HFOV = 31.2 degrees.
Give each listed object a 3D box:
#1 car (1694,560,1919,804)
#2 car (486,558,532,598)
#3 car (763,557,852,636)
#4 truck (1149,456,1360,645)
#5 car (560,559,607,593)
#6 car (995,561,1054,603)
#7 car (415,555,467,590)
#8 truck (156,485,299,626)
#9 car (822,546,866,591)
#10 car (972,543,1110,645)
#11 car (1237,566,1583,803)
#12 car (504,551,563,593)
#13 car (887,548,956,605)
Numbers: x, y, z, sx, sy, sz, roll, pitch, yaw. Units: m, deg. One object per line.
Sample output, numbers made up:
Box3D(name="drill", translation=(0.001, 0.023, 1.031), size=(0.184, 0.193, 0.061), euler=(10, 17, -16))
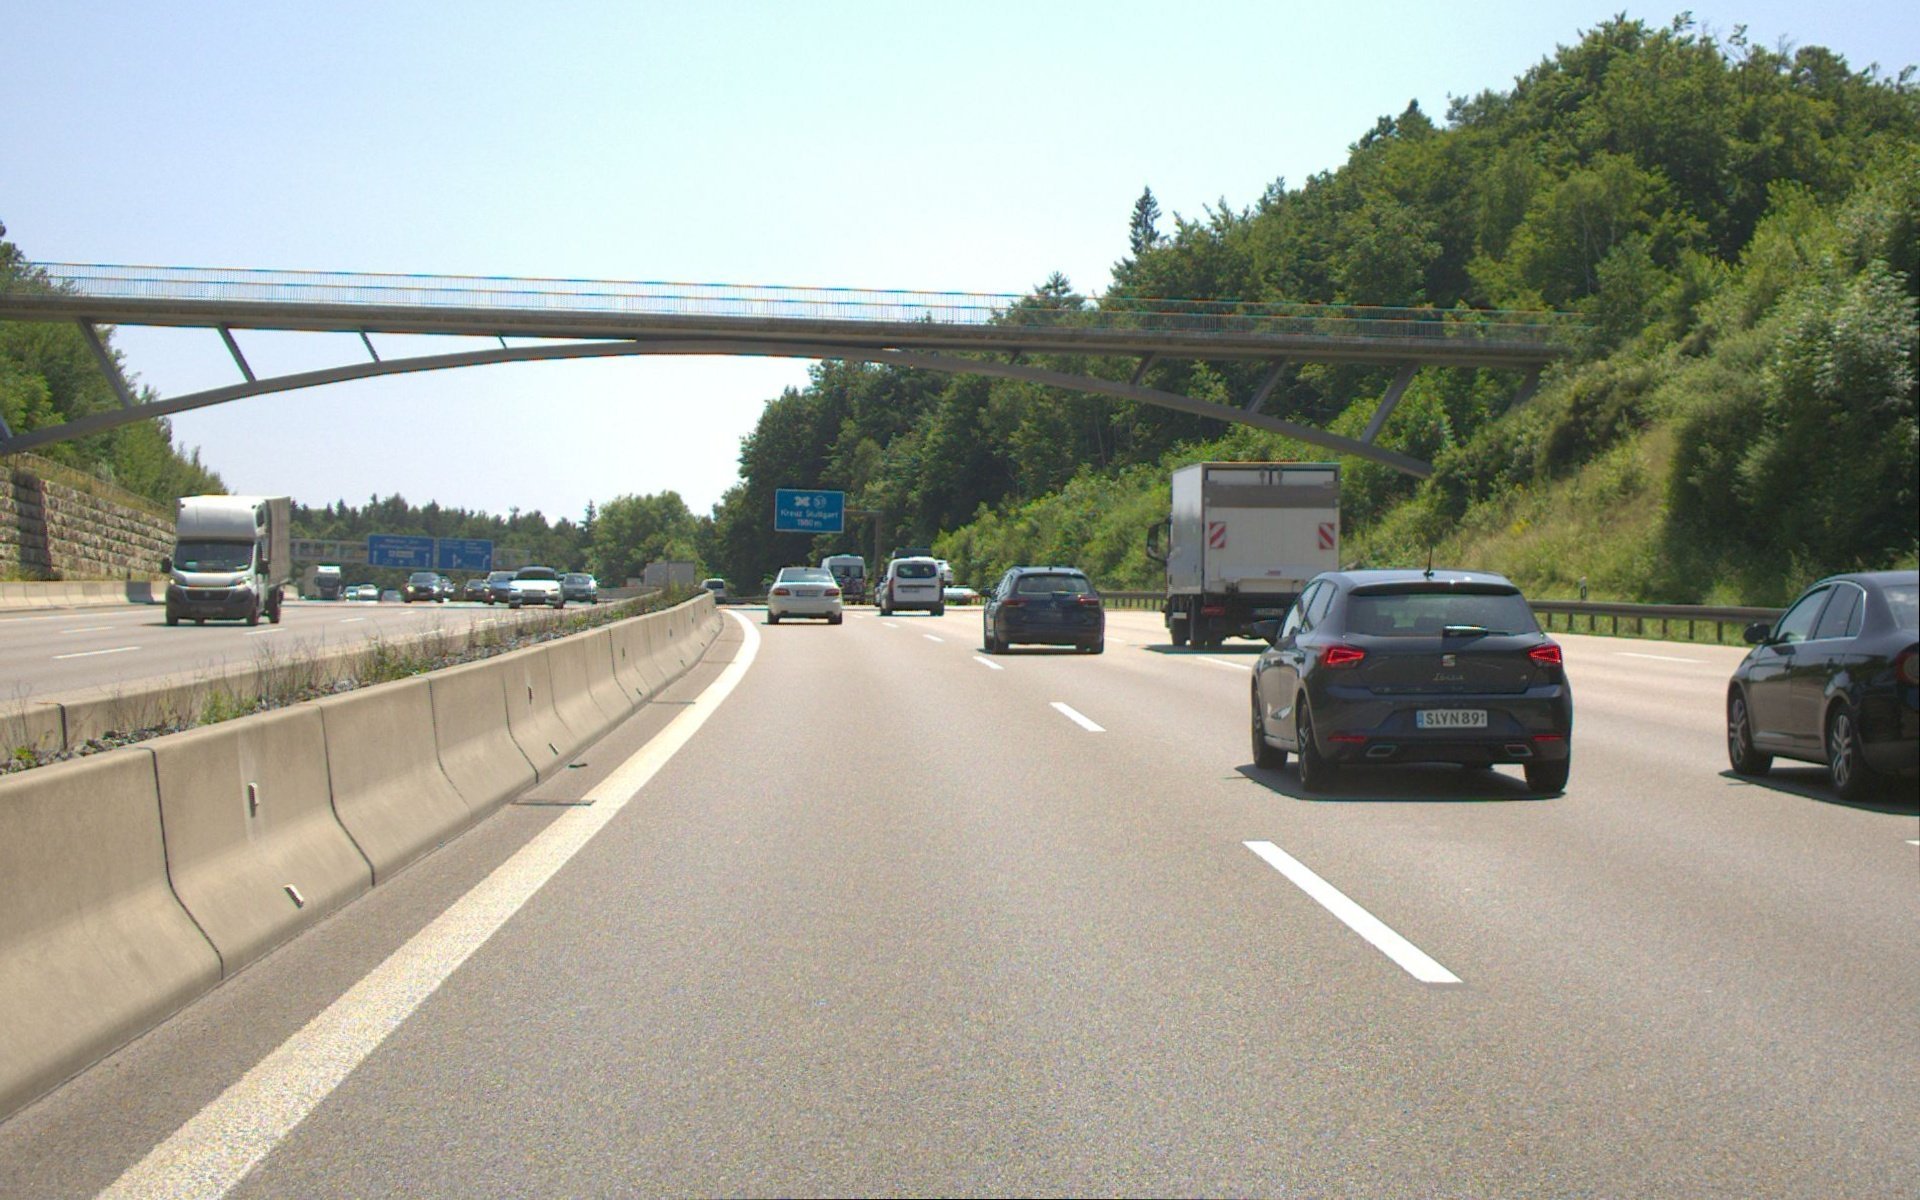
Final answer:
Box3D(name="car", translation=(6.209, 0.459, 22.640), size=(1.665, 1.403, 4.903), euler=(1, 1, 0))
Box3D(name="car", translation=(-19.209, -0.940, 146.487), size=(1.653, 1.545, 4.001), euler=(2, 2, -4))
Box3D(name="car", translation=(-3.932, -0.069, 88.086), size=(2.012, 1.839, 4.000), euler=(1, -2, -6))
Box3D(name="truck", translation=(5.146, -0.892, 61.439), size=(2.985, 3.156, 7.575), euler=(0, 1, -1))
Box3D(name="car", translation=(-18.188, -1.168, 166.310), size=(1.993, 1.612, 4.001), euler=(0, 1, -3))
Box3D(name="car", translation=(2.550, -0.713, 136.127), size=(1.993, 1.587, 4.000), euler=(2, 0, -3))
Box3D(name="car", translation=(-24.226, -1.279, 160.441), size=(1.993, 1.612, 4.001), euler=(0, 1, -3))
Box3D(name="truck", translation=(-17.265, -1.064, 81.356), size=(2.276, 3.132, 6.920), euler=(2, 1, -4))
Box3D(name="car", translation=(-6.123, -1.644, 181.132), size=(2.265, 2.363, 4.702), euler=(0, 0, -2))
Box3D(name="car", translation=(1.306, -0.130, 57.723), size=(1.993, 1.628, 4.760), euler=(0, 1, -2))
Box3D(name="car", translation=(2.945, 0.501, 23.279), size=(1.708, 1.428, 4.000), euler=(1, 1, -1))
Box3D(name="car", translation=(-15.834, -1.059, 127.877), size=(1.900, 1.491, 4.806), euler=(0, 1, -4))
Box3D(name="car", translation=(-1.194, -0.761, 108.113), size=(2.103, 1.738, 4.688), euler=(0, 1, 0))
